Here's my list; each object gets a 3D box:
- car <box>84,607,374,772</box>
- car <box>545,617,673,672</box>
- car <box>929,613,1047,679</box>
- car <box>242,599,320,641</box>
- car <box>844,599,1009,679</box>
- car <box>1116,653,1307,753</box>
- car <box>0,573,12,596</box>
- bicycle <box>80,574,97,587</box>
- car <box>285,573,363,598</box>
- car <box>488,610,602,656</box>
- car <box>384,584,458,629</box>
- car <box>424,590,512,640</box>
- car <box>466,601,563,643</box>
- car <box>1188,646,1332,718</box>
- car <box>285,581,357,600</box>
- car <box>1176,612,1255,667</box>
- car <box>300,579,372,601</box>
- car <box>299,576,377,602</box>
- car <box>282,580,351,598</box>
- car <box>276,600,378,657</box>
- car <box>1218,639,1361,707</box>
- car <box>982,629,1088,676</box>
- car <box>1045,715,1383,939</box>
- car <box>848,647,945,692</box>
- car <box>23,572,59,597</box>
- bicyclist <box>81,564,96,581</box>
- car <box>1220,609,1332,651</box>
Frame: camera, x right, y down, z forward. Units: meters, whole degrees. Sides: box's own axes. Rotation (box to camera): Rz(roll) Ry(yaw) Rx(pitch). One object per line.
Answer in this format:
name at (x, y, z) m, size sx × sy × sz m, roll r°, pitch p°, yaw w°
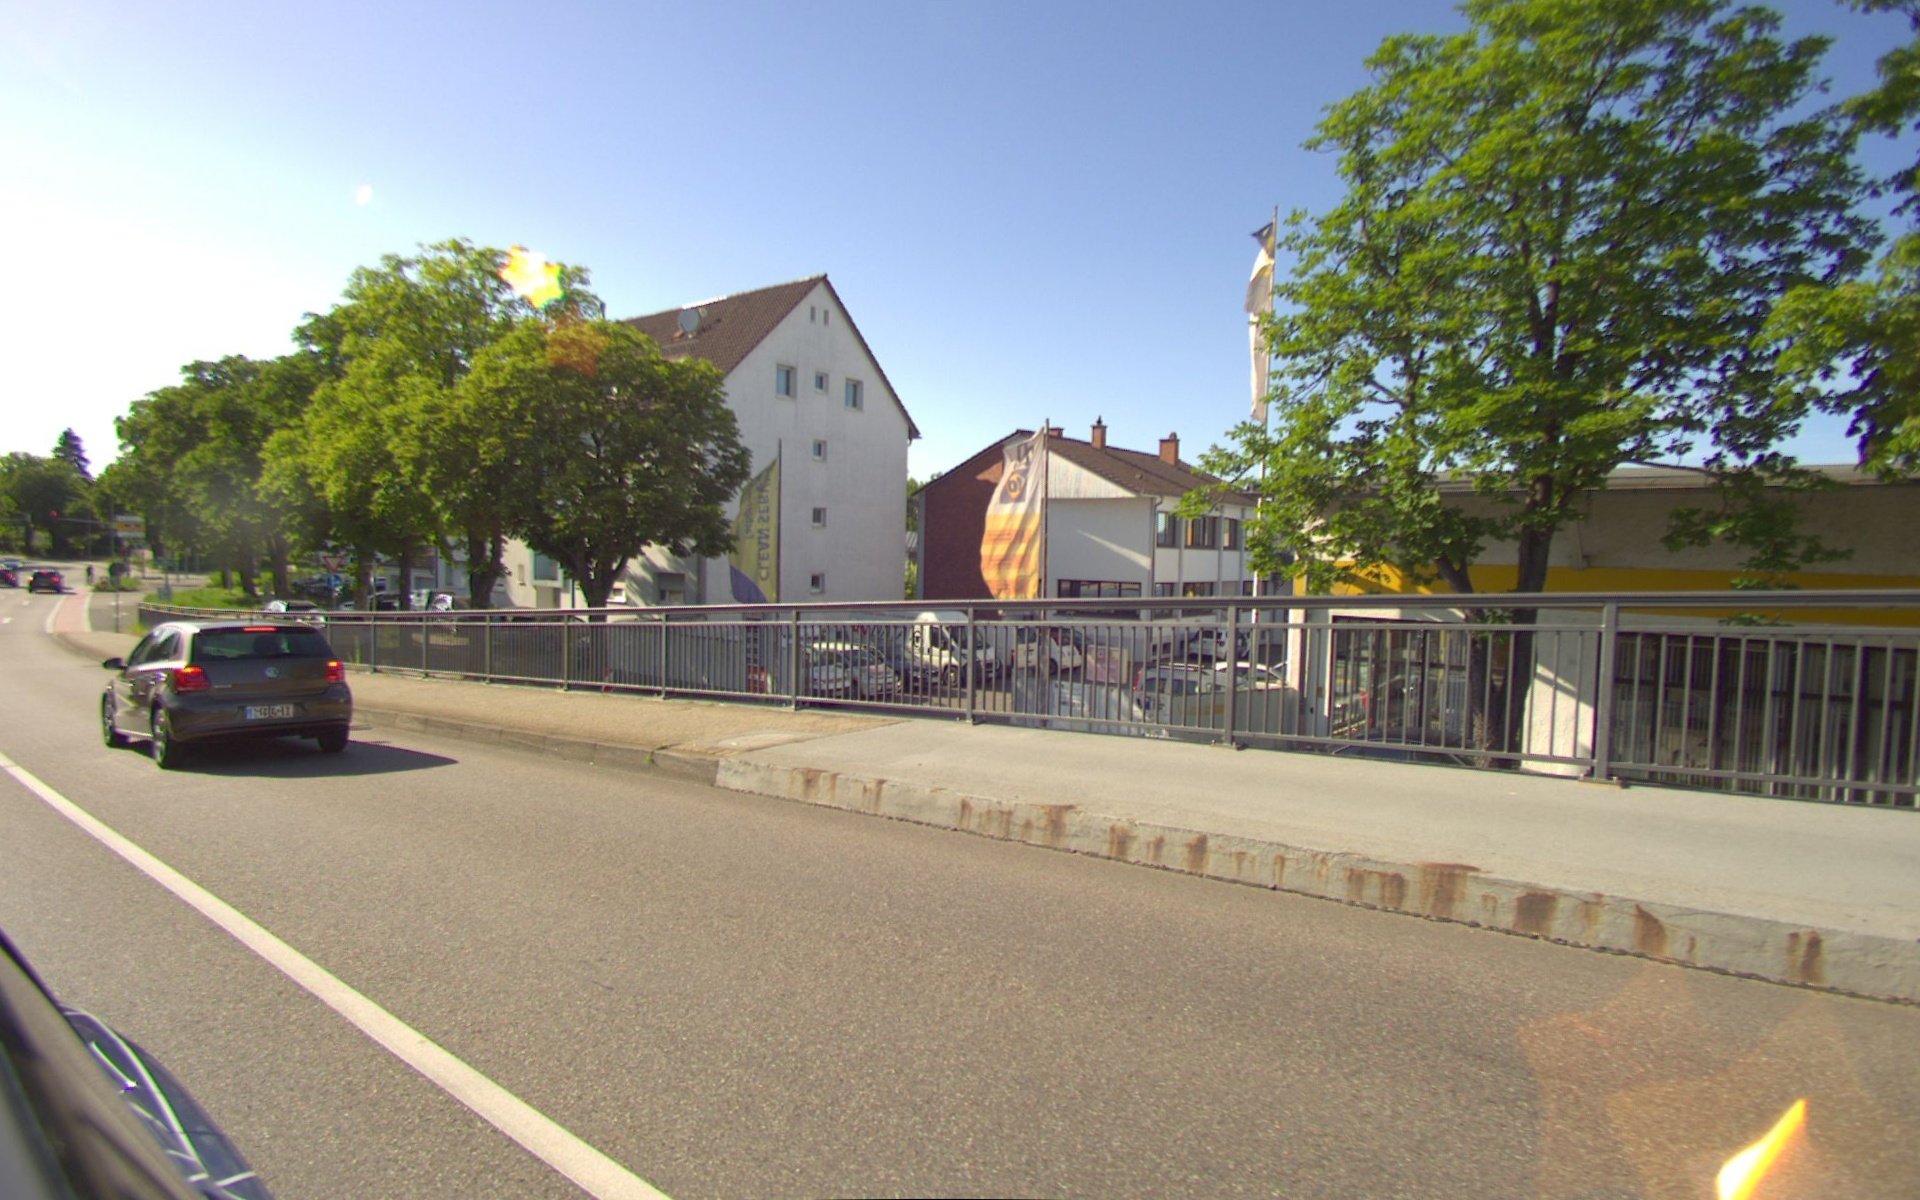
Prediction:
car at (-8.131, 0.845, 11.127) m, size 3.987 × 1.486 × 1.751 m, roll -1°, pitch -2°, yaw 42°
car at (-12.472, 1.532, 36.141) m, size 1.894 × 1.595 × 3.965 m, roll 2°, pitch 3°, yaw 35°
car at (1.004, 1.617, 37.297) m, size 3.998 × 2.028 × 1.973 m, roll 3°, pitch 3°, yaw 41°
car at (-29.464, 0.813, 43.854) m, size 2.014 × 1.475 × 4.967 m, roll -1°, pitch 3°, yaw -44°
car at (-1.259, 1.331, 35.328) m, size 5.885 × 2.581 × 2.109 m, roll -2°, pitch -2°, yaw 40°
car at (5.998, 2.382, 24.265) m, size 3.989 × 1.865 × 1.977 m, roll 2°, pitch 2°, yaw 34°
car at (-76.232, -1.267, 79.633) m, size 3.999 × 1.611 × 1.893 m, roll 4°, pitch 1°, yaw 41°
bicycle at (-74.224, -1.671, 86.215) m, size 0.925 × 1.024 × 2.202 m, roll -1°, pitch 3°, yaw -37°
car at (-42.544, -0.982, 67.760) m, size 1.991 × 1.571 × 3.963 m, roll 2°, pitch 2°, yaw 28°
car at (-16.333, 1.247, 40.004) m, size 1.986 × 1.610 × 3.972 m, roll 1°, pitch 1°, yaw 21°
car at (-26.456, 0.253, 49.573) m, size 5.105 × 1.944 × 1.727 m, roll 3°, pitch 3°, yaw 44°
car at (-22.320, 0.621, 45.847) m, size 4.789 × 1.944 × 2.046 m, roll 4°, pitch 4°, yaw 44°
car at (-18.459, 0.880, 42.087) m, size 1.769 × 1.521 × 3.651 m, roll 1°, pitch 2°, yaw 16°
car at (8.903, 2.383, 30.072) m, size 3.969 × 1.739 × 1.988 m, roll 1°, pitch 2°, yaw 19°
car at (-45.994, -0.720, 72.908) m, size 2.034 × 1.249 × 3.896 m, roll 2°, pitch 2°, yaw 28°
car at (11.036, 1.645, 43.610) m, size 1.996 × 2.028 × 3.919 m, roll 2°, pitch 3°, yaw 35°
car at (-43.954, -0.757, 71.363) m, size 1.939 × 1.423 × 3.841 m, roll 2°, pitch 2°, yaw 30°
car at (-40.599, -0.750, 66.102) m, size 1.918 × 1.622 × 3.953 m, roll 2°, pitch 3°, yaw 35°
car at (-47.765, -0.824, 75.168) m, size 2.034 × 1.249 × 3.896 m, roll 2°, pitch 2°, yaw 28°
car at (-24.165, 1.029, 38.562) m, size 5.237 × 1.741 × 2.015 m, roll 3°, pitch 4°, yaw 43°
car at (10.624, 2.301, 32.722) m, size 3.991 × 1.758 × 1.976 m, roll 2°, pitch 3°, yaw 35°
car at (2.860, 1.972, 38.957) m, size 3.810 × 1.407 × 1.671 m, roll 3°, pitch 3°, yaw 41°
car at (3.443, 2.975, 14.315) m, size 1.901 × 2.006 × 4.261 m, roll -1°, pitch 3°, yaw -44°
car at (-2.074, 2.214, 32.573) m, size 3.044 × 1.086 × 1.285 m, roll 4°, pitch 2°, yaw 41°
car at (-67.852, -1.152, 74.724) m, size 1.829 × 1.748 × 4.277 m, roll -1°, pitch 2°, yaw -41°
bicyclist at (-74.156, -2.322, 86.111) m, size 0.921 × 1.412 × 0.824 m, roll -1°, pitch 2°, yaw -37°
car at (16.640, 1.559, 53.466) m, size 5.219 × 2.028 × 2.000 m, roll 1°, pitch 2°, yaw 0°
